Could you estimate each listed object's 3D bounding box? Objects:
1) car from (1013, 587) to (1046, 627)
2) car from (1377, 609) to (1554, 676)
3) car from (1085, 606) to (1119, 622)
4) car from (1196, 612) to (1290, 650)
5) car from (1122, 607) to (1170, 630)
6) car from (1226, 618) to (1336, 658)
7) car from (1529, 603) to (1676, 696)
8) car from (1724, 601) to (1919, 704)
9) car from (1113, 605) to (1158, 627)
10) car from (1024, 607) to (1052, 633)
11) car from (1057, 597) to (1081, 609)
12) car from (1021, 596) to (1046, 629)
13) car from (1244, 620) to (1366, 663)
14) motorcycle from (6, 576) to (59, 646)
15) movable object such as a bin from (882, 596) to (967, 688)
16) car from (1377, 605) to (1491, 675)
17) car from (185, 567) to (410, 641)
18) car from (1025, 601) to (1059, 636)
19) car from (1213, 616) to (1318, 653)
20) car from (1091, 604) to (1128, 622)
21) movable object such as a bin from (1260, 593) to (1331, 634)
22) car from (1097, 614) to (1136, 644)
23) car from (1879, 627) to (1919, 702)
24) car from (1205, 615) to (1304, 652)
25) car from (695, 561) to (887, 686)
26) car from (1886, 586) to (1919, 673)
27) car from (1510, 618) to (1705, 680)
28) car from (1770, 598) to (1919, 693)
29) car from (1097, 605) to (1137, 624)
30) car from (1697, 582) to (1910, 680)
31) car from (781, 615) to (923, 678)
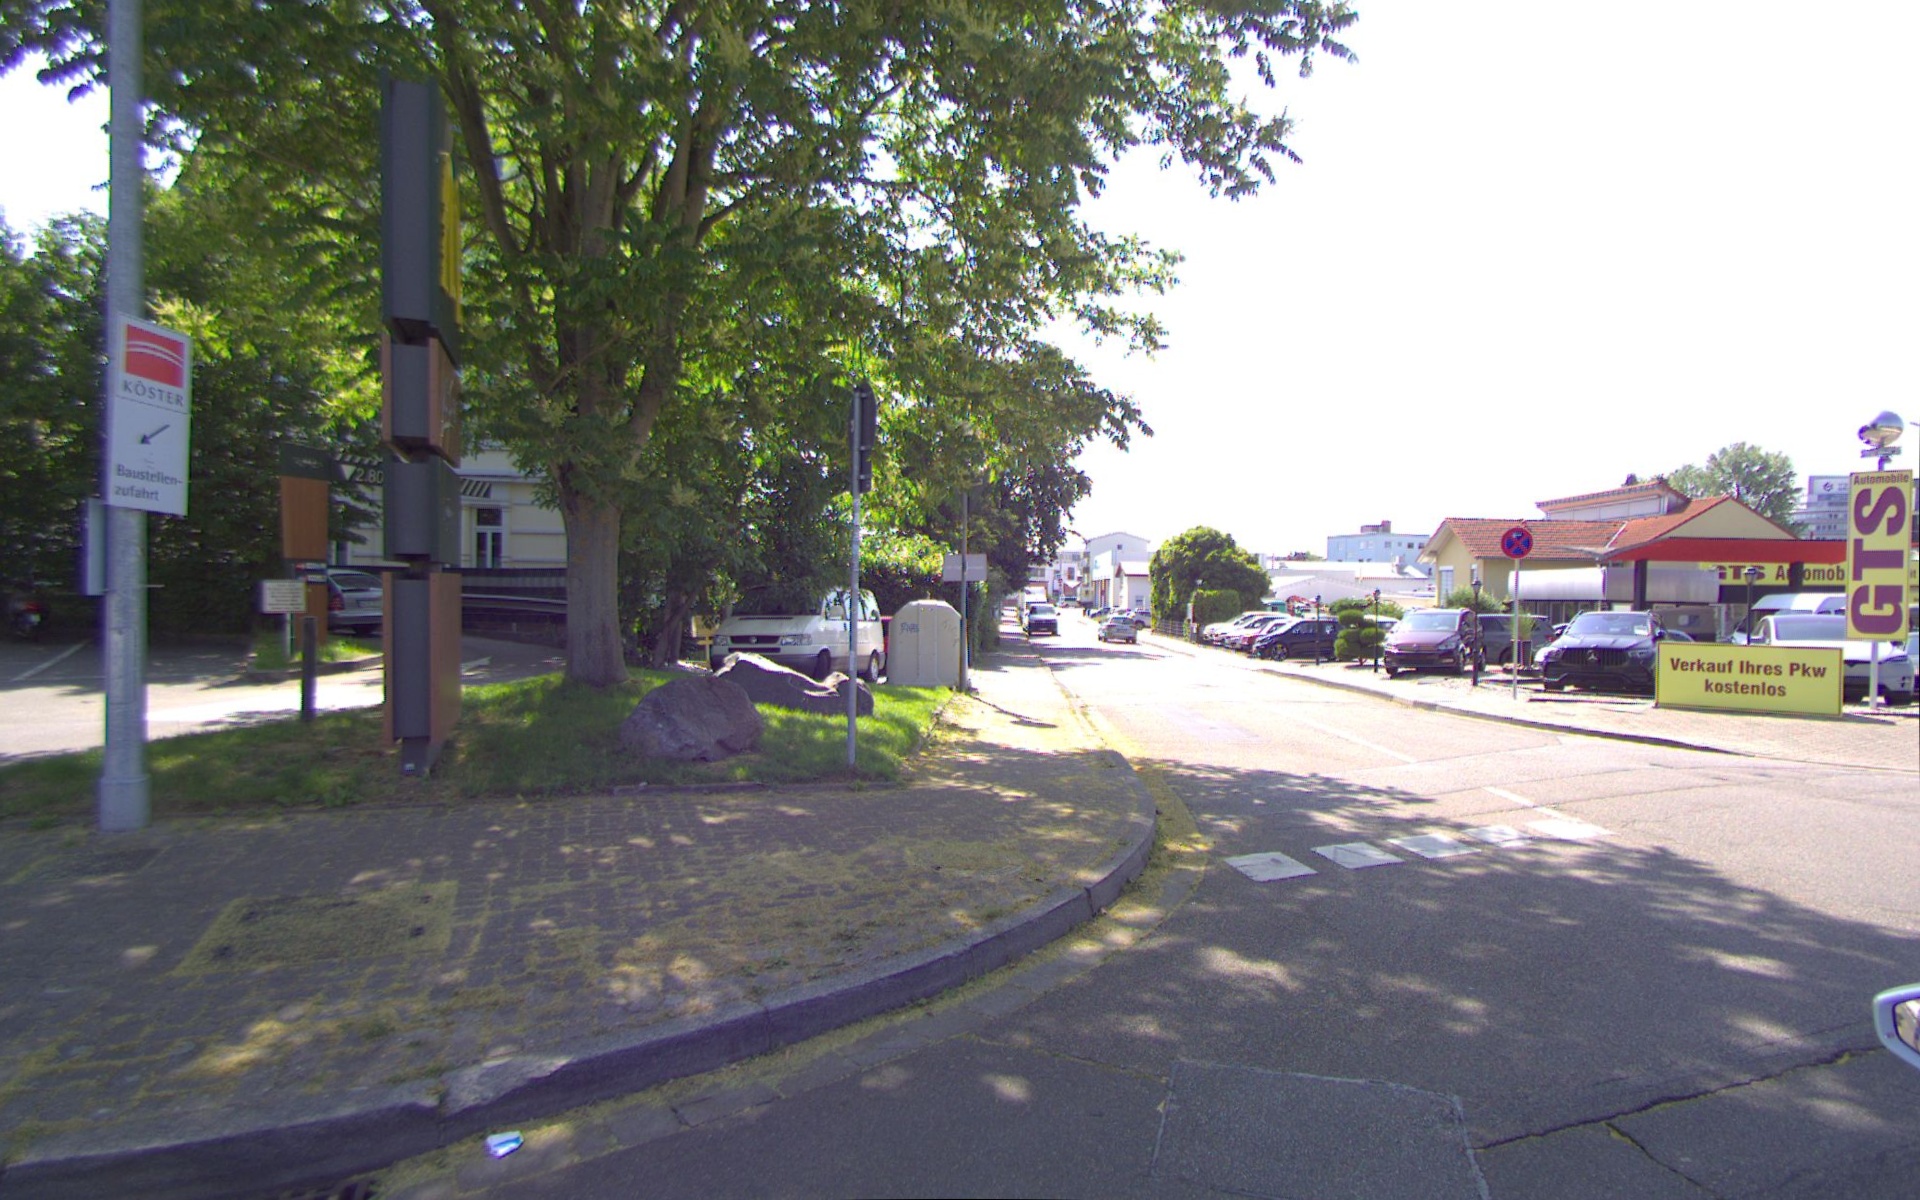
[{"bbox_3d":[6.229,0.627,90.910,2.759,3.361,7.785,1,0,3],"label":"car"},{"bbox_3d":[15.764,1.288,31.544,4.801,1.867,2.160,1,0,26],"label":"car"},{"bbox_3d":[17.096,1.646,121.011,3.795,1.787,1.824,2,0,3],"label":"car"},{"bbox_3d":[13.820,1.499,49.198,4.089,1.773,1.892,1,0,0],"label":"car"},{"bbox_3d":[15.570,1.530,84.263,3.764,1.787,1.856,2,0,3],"label":"car"},{"bbox_3d":[13.303,1.565,41.757,3.978,1.508,1.798,1,0,0],"label":"car"},{"bbox_3d":[13.589,1.024,21.137,2.019,1.729,4.294,1,-2,41],"label":"car"},{"bbox_3d":[16.378,1.039,19.368,1.946,1.729,4.658,0,-4,29],"label":"car"},{"bbox_3d":[15.776,1.418,90.286,3.764,1.787,1.783,2,0,3],"label":"car"},{"bbox_3d":[5.327,1.356,69.159,1.801,1.714,4.001,1,0,3],"label":"car"},{"bbox_3d":[19.320,0.598,178.741,3.923,1.935,1.813,2,1,-4],"label":"car"},{"bbox_3d":[5.795,0.984,79.602,1.801,2.537,4.001,1,0,3],"label":"car"},{"bbox_3d":[13.212,1.573,38.647,4.051,1.508,1.870,1,0,0],"label":"car"},{"bbox_3d":[-16.674,0.176,18.043,2.153,1.147,0.566,3,2,44],"label":"motorcycle"},{"bbox_3d":[-0.620,0.744,18.055,1.427,1.546,1.776,-1,-2,-1],"label":"movable object such as a bin"},{"bbox_3d":[12.354,0.998,26.028,1.782,1.678,4.297,0,-1,38],"label":"car"},{"bbox_3d":[-14.085,0.026,21.388,4.299,1.423,1.714,1,2,19],"label":"car"},{"bbox_3d":[5.219,1.192,64.244,2.000,2.084,4.002,1,-1,3],"label":"car"},{"bbox_3d":[13.399,1.509,44.154,4.038,1.508,1.870,1,0,0],"label":"car"},{"bbox_3d":[16.002,1.399,107.492,3.764,1.787,1.783,2,0,3],"label":"car"},{"bbox_3d":[25.460,1.037,76.394,4.735,2.945,2.001,1,0,6],"label":"movable object such as a bin"},{"bbox_3d":[8.524,1.539,54.975,1.649,1.513,4.608,1,-1,3],"label":"car"},{"bbox_3d":[20.787,1.323,21.209,1.814,1.492,3.981,-2,-3,40],"label":"car"},{"bbox_3d":[13.628,1.538,46.670,4.044,1.624,1.870,1,0,0],"label":"car"},{"bbox_3d":[-2.833,0.500,18.007,1.854,1.945,4.529,-1,-3,12],"label":"car"},{"bbox_3d":[30.540,1.011,29.983,5.644,2.463,2.238,2,3,-26],"label":"car"},{"bbox_3d":[18.021,1.346,28.005,4.607,1.596,1.910,1,0,-14],"label":"car"},{"bbox_3d":[24.796,1.250,27.356,4.755,2.381,2.241,3,-1,-23],"label":"car"},{"bbox_3d":[15.942,1.502,102.185,3.764,1.787,1.783,2,0,3],"label":"car"},{"bbox_3d":[25.993,0.977,30.944,6.059,2.794,2.274,2,-1,-20],"label":"car"},{"bbox_3d":[-2.742,1.181,25.980,3.338,1.485,1.695,-2,-1,6],"label":"car"}]
